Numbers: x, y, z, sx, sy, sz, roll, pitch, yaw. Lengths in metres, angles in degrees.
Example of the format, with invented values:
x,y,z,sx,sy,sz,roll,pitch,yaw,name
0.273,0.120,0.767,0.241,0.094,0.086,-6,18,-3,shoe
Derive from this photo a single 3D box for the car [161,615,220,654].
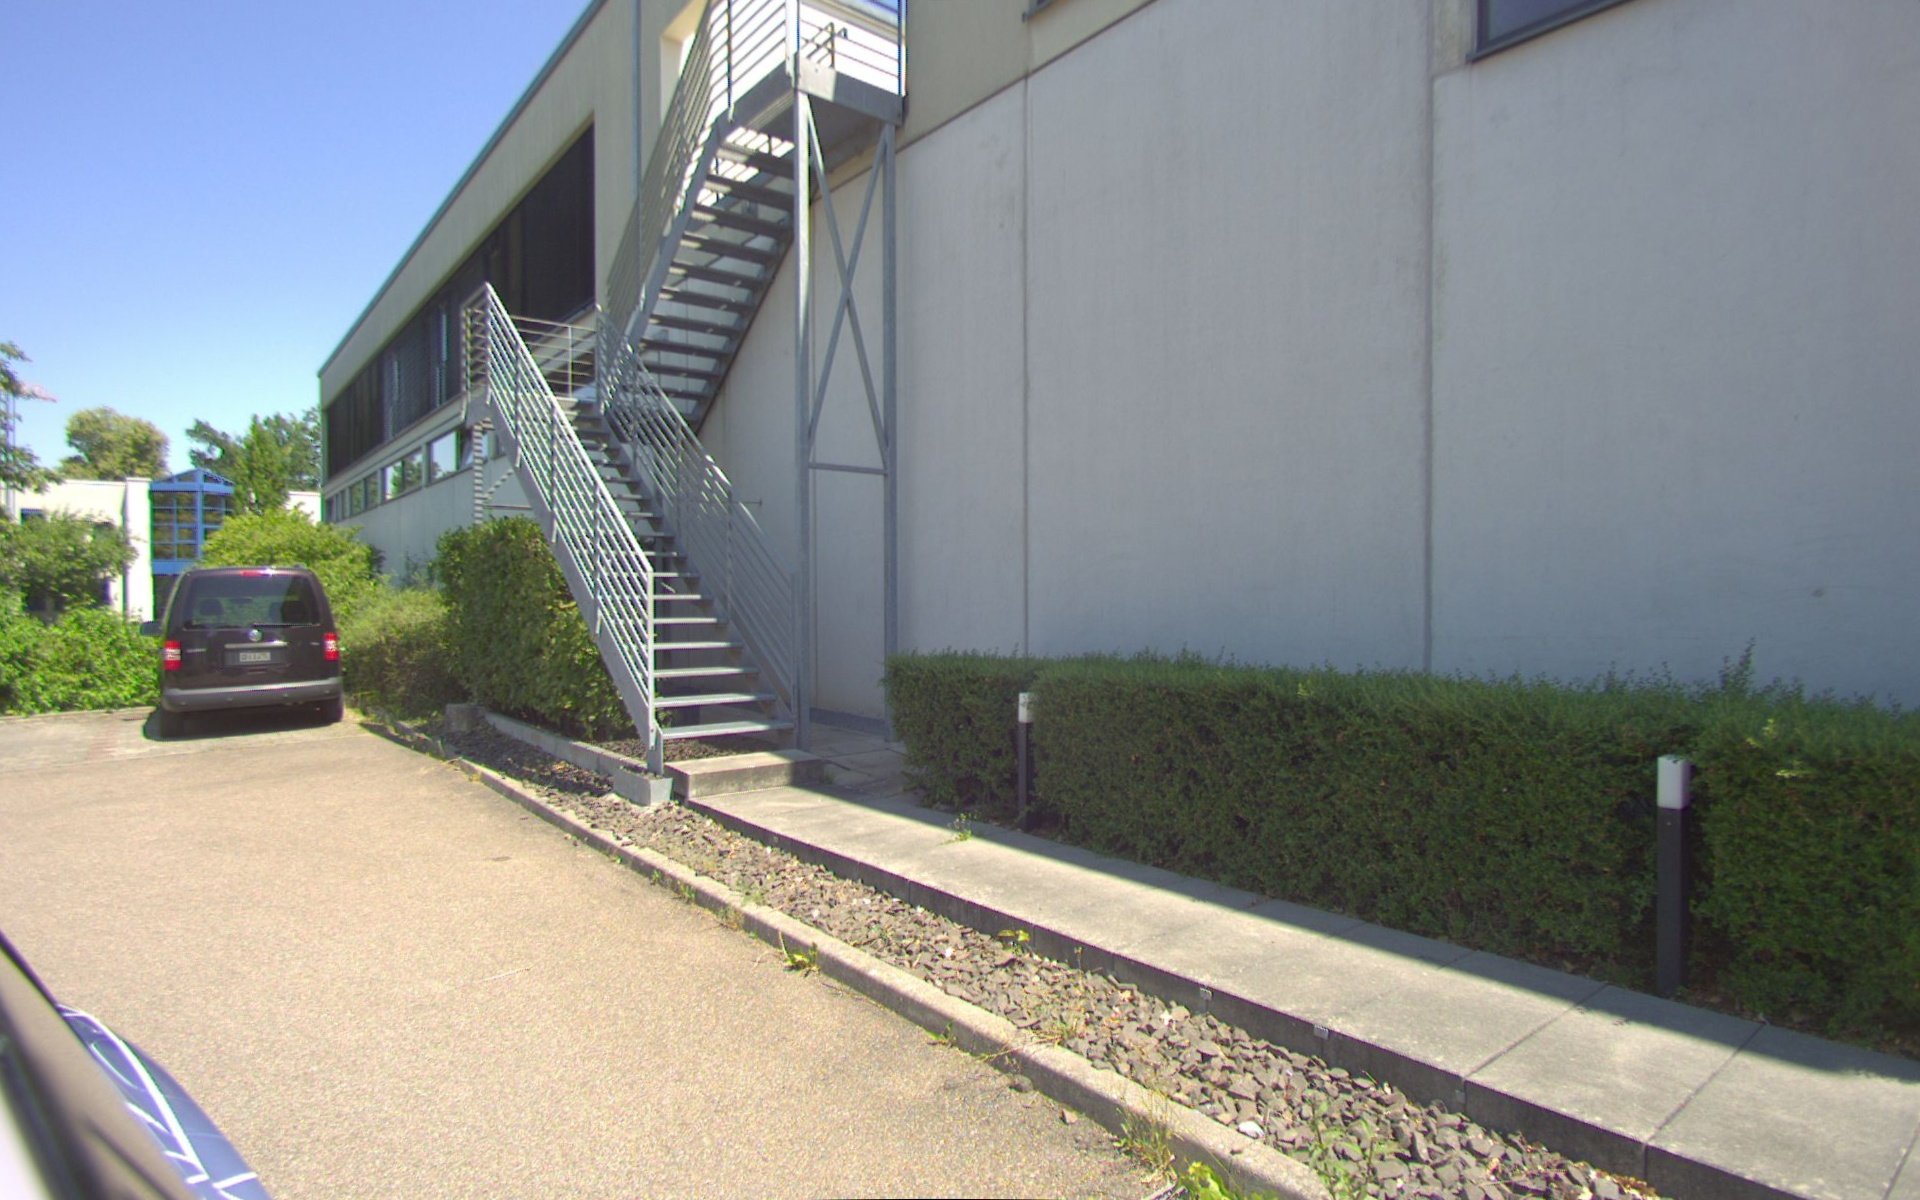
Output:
x,y,z,sx,sy,sz,roll,pitch,yaw,name
-35.185,1.539,46.244,1.809,1.579,4.005,-1,2,-42,car

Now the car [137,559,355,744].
x,y,z,sx,sy,sz,roll,pitch,yaw,name
-8.930,0.513,12.502,1.839,1.874,4.236,-2,1,-40,car
